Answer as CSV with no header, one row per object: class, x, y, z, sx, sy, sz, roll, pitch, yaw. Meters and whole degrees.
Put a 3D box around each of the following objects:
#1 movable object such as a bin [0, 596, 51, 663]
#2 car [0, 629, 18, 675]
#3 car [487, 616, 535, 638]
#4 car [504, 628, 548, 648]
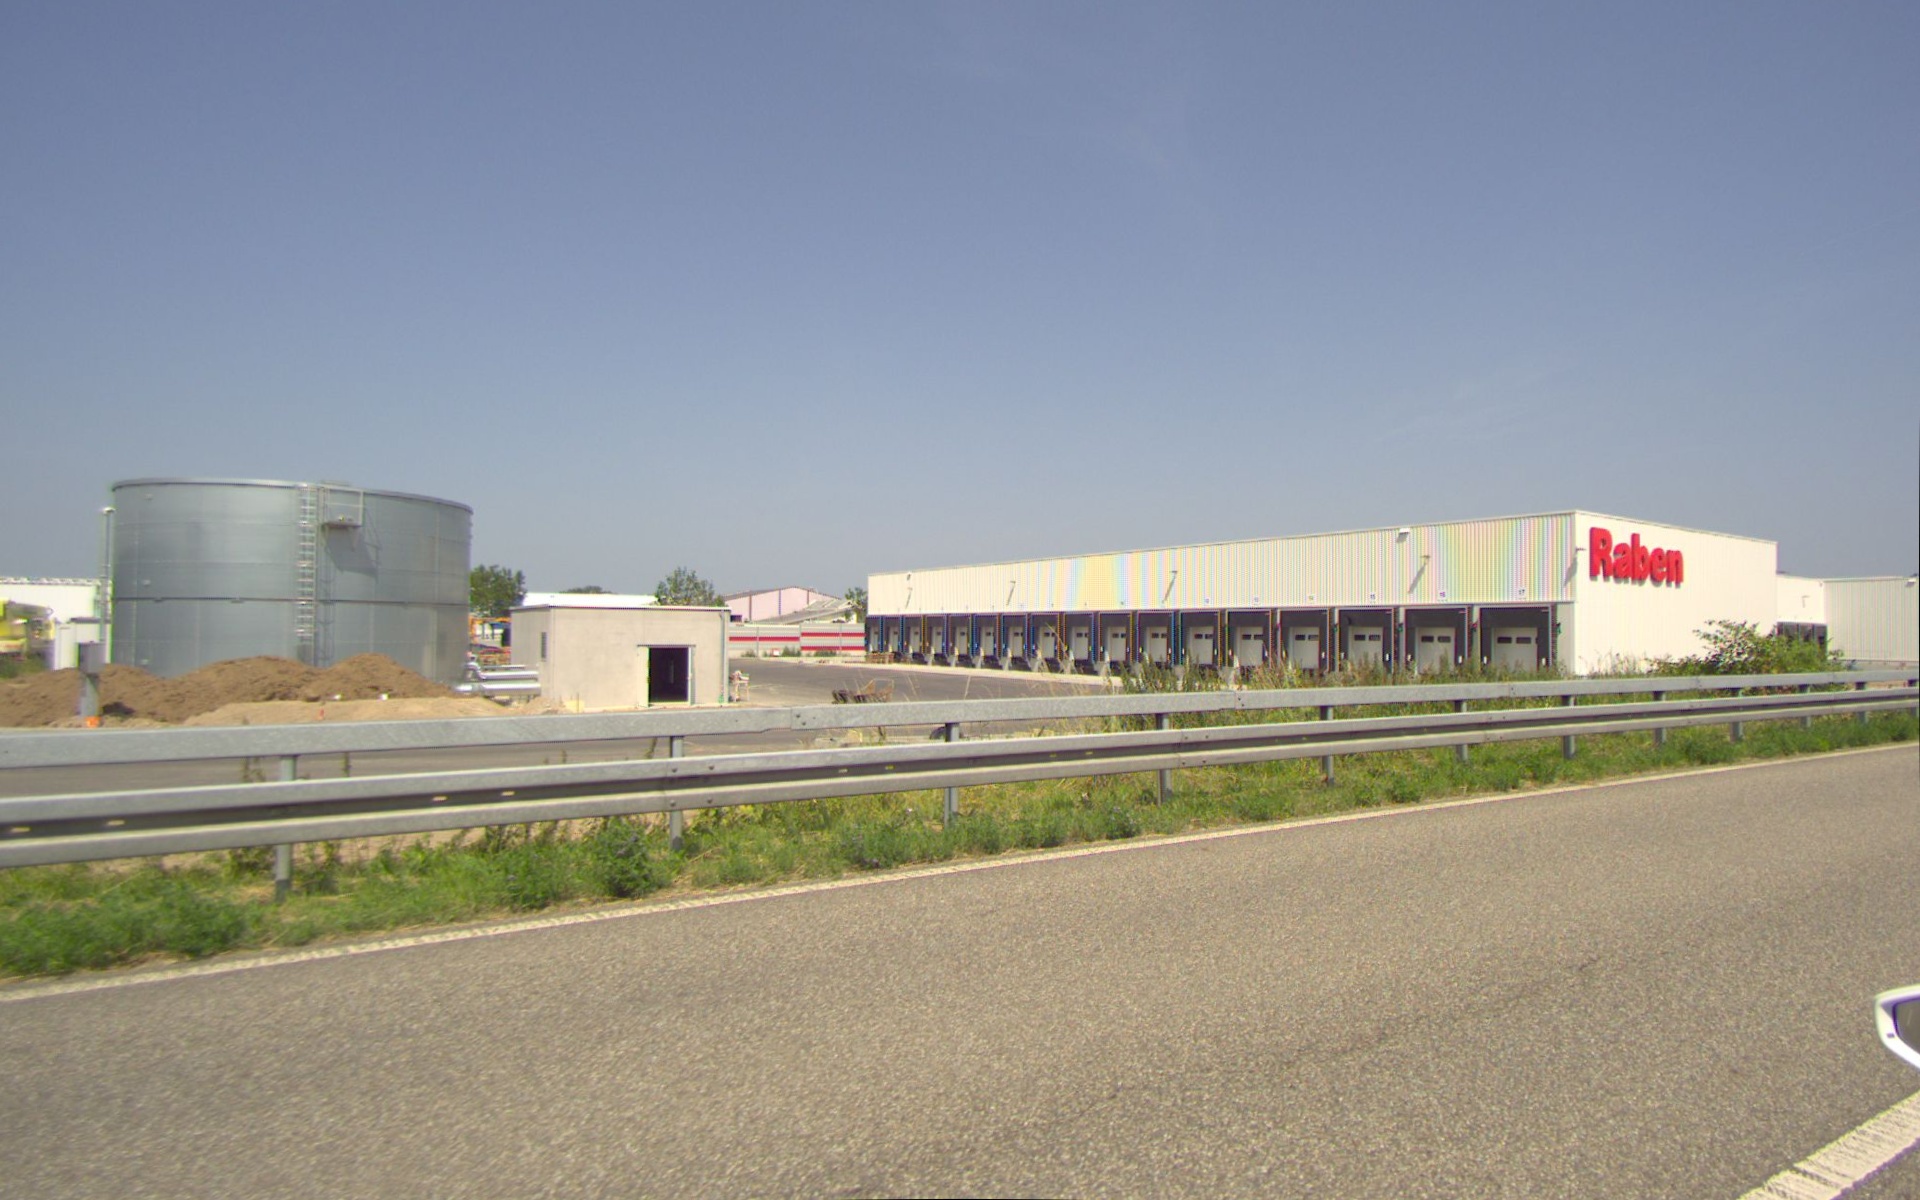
movable object such as a bin,-50.518,1.513,53.265,2.769,3.337,5.255,2,0,-36
car,-47.084,2.489,48.346,1.874,2.040,3.961,2,0,-34
car,-40.884,2.470,91.484,3.629,1.878,1.744,2,-4,-38
car,-39.019,3.394,90.327,3.250,1.734,1.744,2,-4,-38
